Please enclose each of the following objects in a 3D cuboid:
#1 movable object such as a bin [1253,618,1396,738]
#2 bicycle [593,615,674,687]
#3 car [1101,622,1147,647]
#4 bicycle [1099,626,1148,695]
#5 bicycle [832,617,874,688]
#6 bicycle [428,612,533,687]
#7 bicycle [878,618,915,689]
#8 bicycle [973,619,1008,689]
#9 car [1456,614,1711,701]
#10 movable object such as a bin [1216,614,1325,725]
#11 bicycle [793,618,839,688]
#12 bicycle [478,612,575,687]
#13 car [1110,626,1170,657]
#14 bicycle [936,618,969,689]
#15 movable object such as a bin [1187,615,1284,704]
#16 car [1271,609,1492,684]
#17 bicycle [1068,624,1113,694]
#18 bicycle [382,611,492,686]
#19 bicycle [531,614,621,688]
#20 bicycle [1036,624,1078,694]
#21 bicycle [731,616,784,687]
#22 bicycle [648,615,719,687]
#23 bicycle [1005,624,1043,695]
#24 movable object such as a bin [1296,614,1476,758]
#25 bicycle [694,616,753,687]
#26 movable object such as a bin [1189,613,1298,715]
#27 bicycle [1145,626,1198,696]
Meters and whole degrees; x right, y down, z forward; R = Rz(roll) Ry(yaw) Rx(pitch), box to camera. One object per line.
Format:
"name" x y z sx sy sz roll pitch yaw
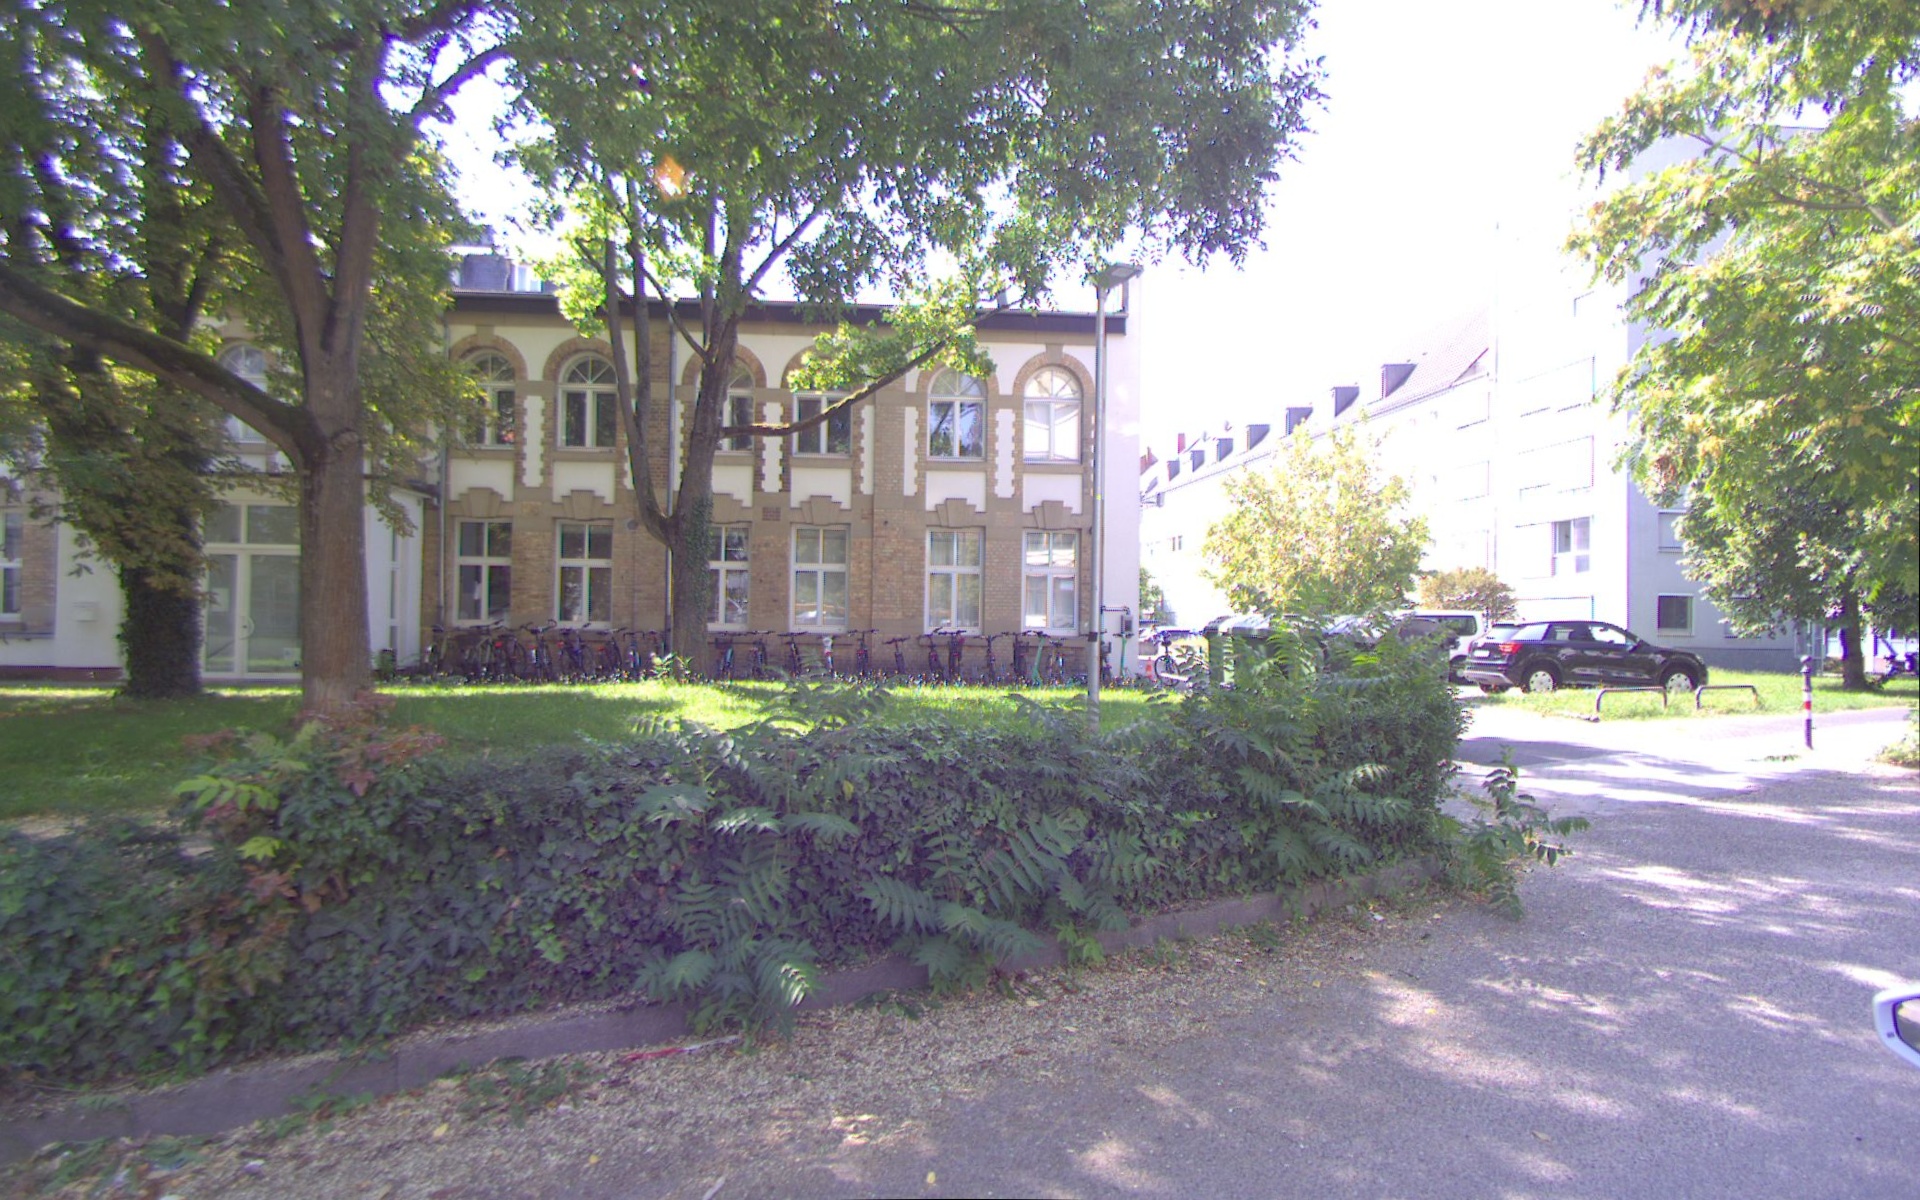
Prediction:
"movable object such as a bin" 4.706 0.978 13.070 1.227 1.451 1.329 1 0 -11
"bicycle" -6.332 0.977 19.660 0.757 1.320 2.527 1 -2 0
"car" 10.362 2.188 63.768 1.767 1.530 3.995 1 -2 -9
"bicycle" 3.274 1.192 20.258 0.597 1.320 2.174 1 -2 0
"bicycle" -2.091 1.028 19.896 0.597 1.320 2.174 1 -2 0
"bicycle" -8.993 0.922 18.981 0.757 1.320 2.527 1 -2 0
"bicycle" -1.240 1.043 19.970 0.597 1.320 2.174 1 -2 0
"bicycle" 0.589 1.056 20.149 0.597 1.320 2.174 1 -2 0
"car" 11.882 1.078 19.341 3.834 1.548 1.708 1 -1 2
"movable object such as a bin" 4.386 0.967 14.271 1.081 1.501 1.099 1 0 -10
"bicycle" -2.850 1.039 20.049 0.597 1.320 2.174 1 -2 0
"bicycle" -8.208 0.922 19.164 0.757 1.320 2.527 1 -2 0
"car" 9.045 2.086 50.778 1.767 1.530 3.995 1 -2 -9
"bicycle" -0.155 1.049 19.974 0.597 1.320 2.174 1 -2 0
"movable object such as a bin" 4.766 1.015 17.452 1.227 1.463 1.205 1 0 -10
"car" 11.406 1.254 27.465 4.985 1.906 2.502 1 -1 -2
"bicycle" 2.604 1.163 20.234 0.597 1.320 2.174 1 -2 0
"bicycle" -9.867 0.902 19.093 0.757 1.320 2.527 1 -2 0
"bicycle" -7.325 0.955 19.317 0.757 1.320 2.527 1 -2 0
"bicycle" 1.929 1.161 20.195 0.597 1.320 2.174 1 -2 0
"bicycle" -3.980 1.012 19.880 0.597 1.320 2.174 1 -2 0
"bicycle" -5.388 0.985 19.719 0.757 1.320 2.273 1 -2 0
"bicycle" 1.260 1.163 20.065 0.597 1.320 2.174 1 -2 0
"movable object such as a bin" 4.831 0.932 11.480 1.315 1.513 1.367 1 0 -18
"bicycle" -4.626 1.000 19.820 0.615 1.320 2.273 1 -2 0
"movable object such as a bin" 4.398 0.970 15.697 1.227 1.515 1.205 1 0 -10
"bicycle" 4.247 1.208 20.323 0.597 1.320 2.174 1 -2 0
